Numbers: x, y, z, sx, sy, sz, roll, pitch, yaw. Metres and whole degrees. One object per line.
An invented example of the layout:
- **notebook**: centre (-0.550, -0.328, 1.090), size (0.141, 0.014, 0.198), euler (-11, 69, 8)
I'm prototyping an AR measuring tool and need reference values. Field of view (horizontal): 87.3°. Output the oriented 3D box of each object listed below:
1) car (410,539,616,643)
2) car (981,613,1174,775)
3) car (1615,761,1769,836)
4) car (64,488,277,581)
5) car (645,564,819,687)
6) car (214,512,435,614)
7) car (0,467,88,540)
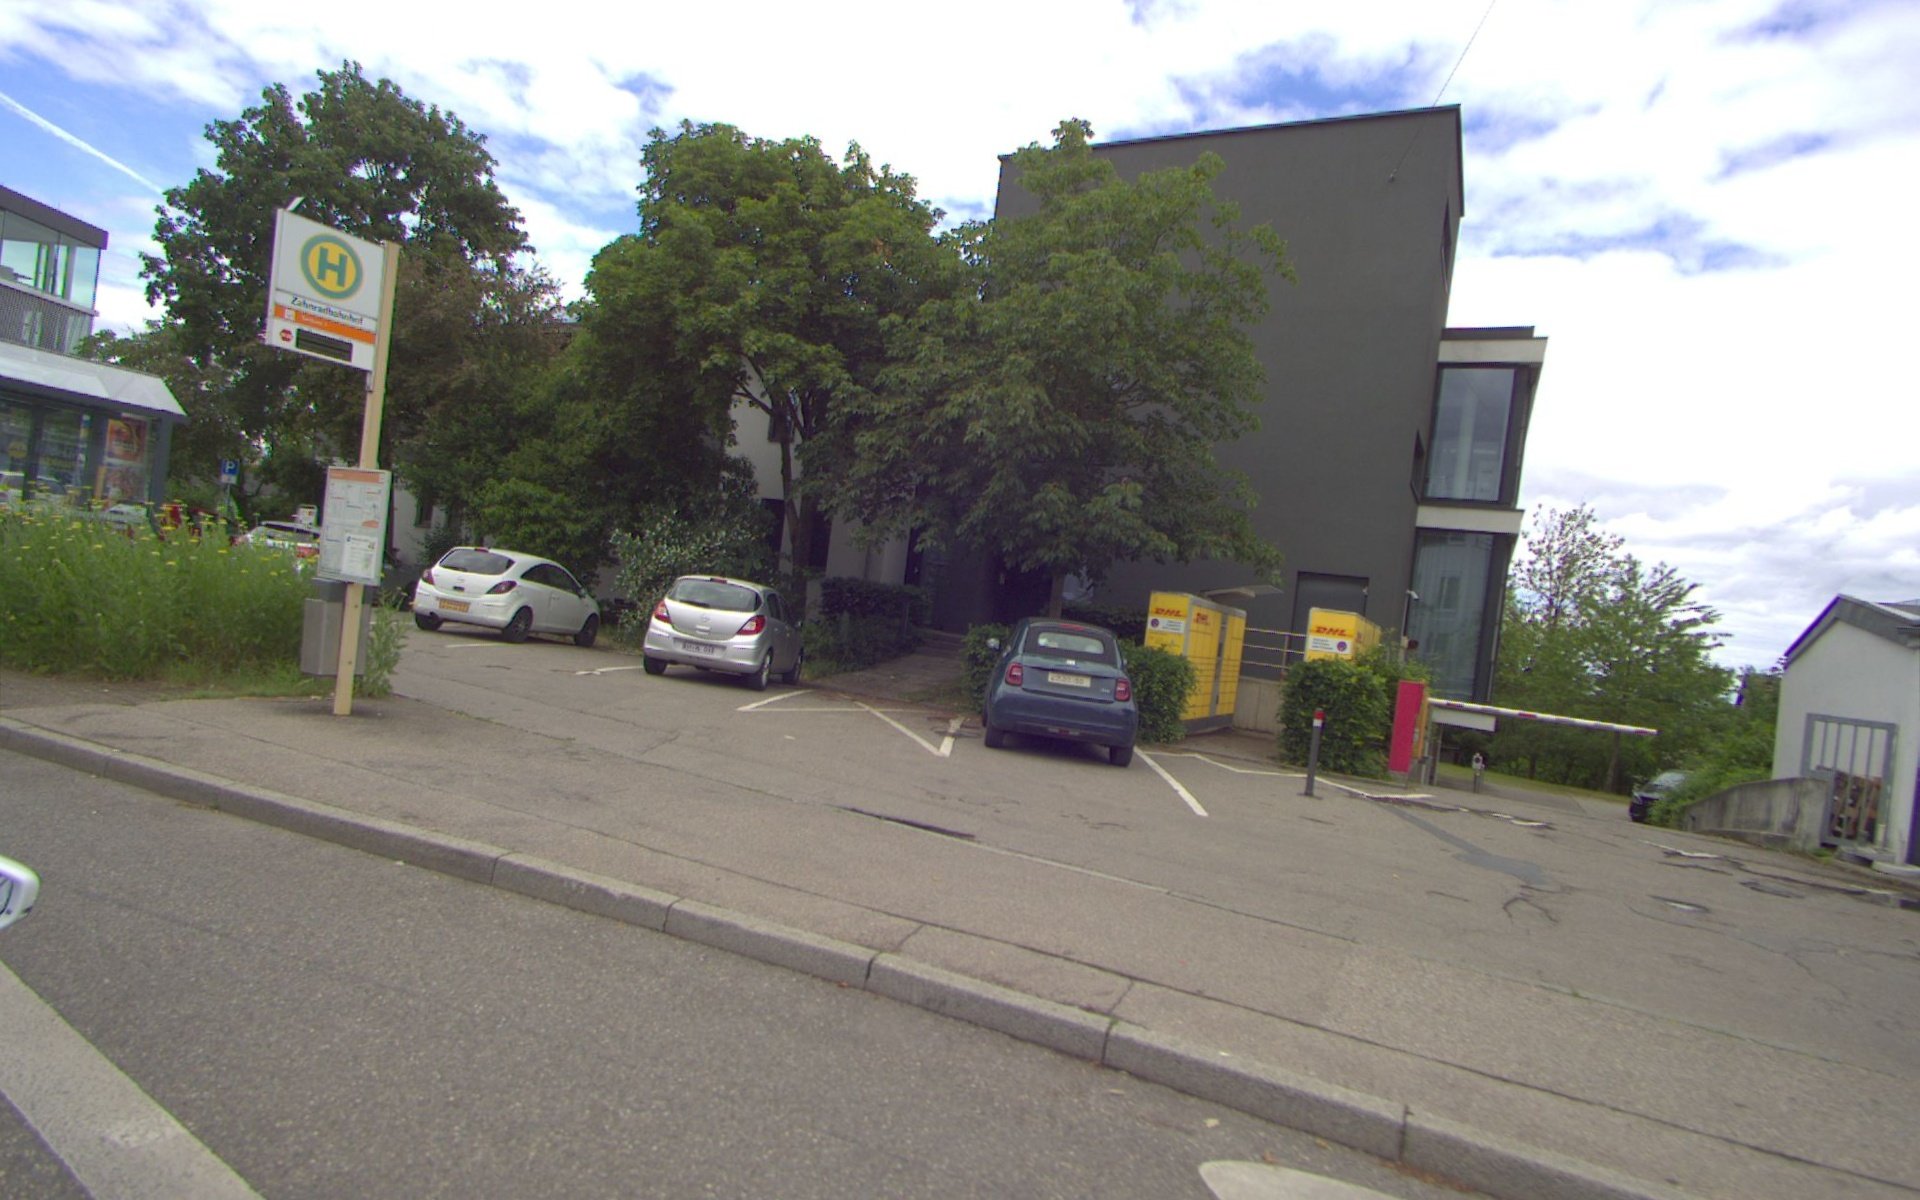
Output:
- **car**: centre (-7.525, -0.142, 17.338), size (1.561, 1.454, 3.650), euler (5, 1, 5)
- **car**: centre (1.294, 1.039, 12.722), size (1.845, 1.495, 4.001), euler (7, -1, 1)
- **car**: centre (19.068, 5.163, 26.165), size (3.821, 1.465, 1.760), euler (9, -1, -30)
- **car**: centre (-17.358, -1.387, 22.338), size (1.649, 1.472, 3.507), euler (7, -2, 4)
- **car**: centre (-3.259, 0.343, 15.030), size (1.519, 1.395, 3.516), euler (9, 0, 2)
- **car**: centre (-12.595, -0.647, 20.251), size (1.765, 1.490, 3.808), euler (7, -3, 2)
- **car**: centre (-28.653, -2.985, 30.577), size (4.444, 1.861, 1.994), euler (6, 1, 32)
